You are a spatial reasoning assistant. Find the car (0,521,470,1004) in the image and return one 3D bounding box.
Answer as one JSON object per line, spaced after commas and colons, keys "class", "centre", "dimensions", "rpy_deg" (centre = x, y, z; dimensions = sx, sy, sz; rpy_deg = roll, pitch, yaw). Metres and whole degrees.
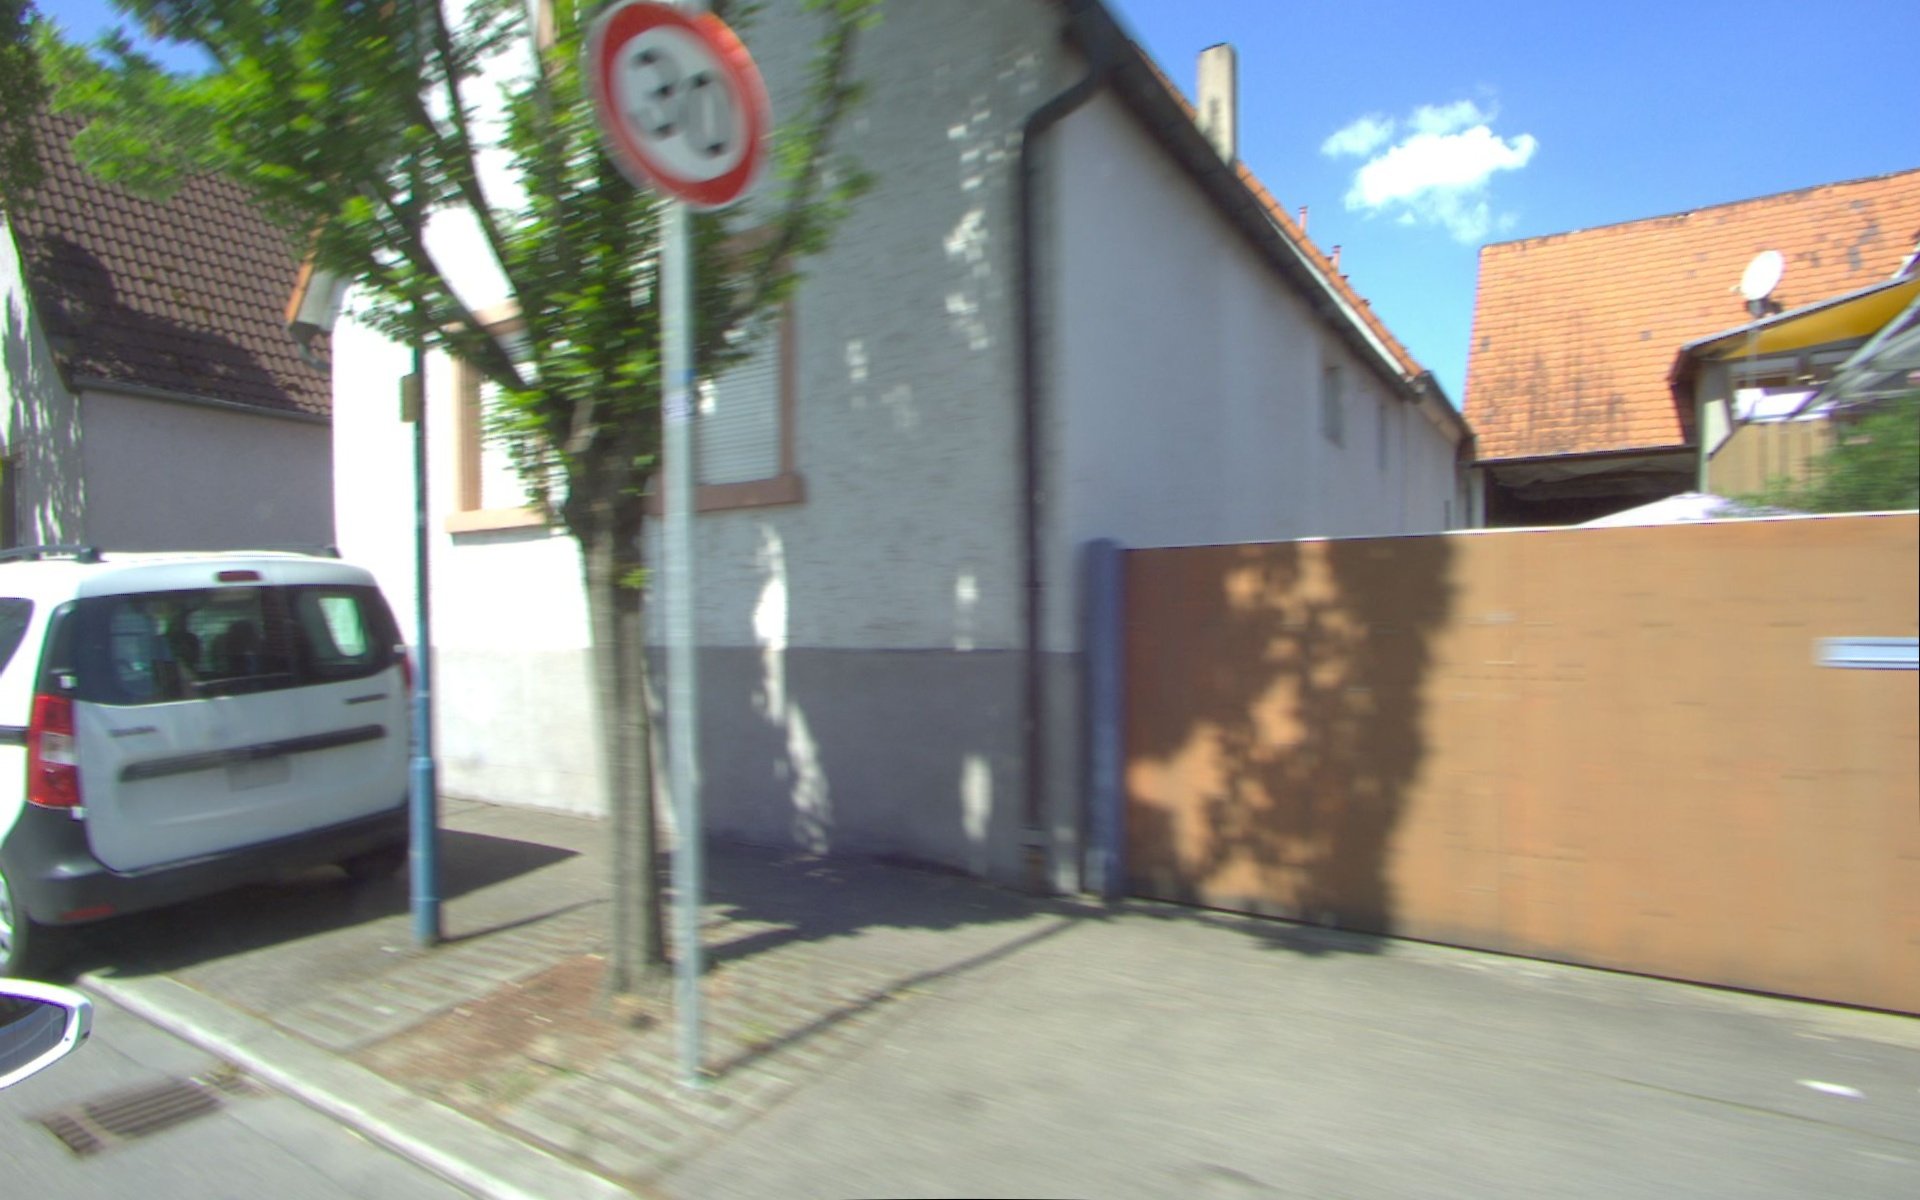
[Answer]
{"class": "car", "centre": [-4.760, 0.623, 5.546], "dimensions": [4.083, 1.814, 1.716], "rpy_deg": [-1, 1, 31]}
